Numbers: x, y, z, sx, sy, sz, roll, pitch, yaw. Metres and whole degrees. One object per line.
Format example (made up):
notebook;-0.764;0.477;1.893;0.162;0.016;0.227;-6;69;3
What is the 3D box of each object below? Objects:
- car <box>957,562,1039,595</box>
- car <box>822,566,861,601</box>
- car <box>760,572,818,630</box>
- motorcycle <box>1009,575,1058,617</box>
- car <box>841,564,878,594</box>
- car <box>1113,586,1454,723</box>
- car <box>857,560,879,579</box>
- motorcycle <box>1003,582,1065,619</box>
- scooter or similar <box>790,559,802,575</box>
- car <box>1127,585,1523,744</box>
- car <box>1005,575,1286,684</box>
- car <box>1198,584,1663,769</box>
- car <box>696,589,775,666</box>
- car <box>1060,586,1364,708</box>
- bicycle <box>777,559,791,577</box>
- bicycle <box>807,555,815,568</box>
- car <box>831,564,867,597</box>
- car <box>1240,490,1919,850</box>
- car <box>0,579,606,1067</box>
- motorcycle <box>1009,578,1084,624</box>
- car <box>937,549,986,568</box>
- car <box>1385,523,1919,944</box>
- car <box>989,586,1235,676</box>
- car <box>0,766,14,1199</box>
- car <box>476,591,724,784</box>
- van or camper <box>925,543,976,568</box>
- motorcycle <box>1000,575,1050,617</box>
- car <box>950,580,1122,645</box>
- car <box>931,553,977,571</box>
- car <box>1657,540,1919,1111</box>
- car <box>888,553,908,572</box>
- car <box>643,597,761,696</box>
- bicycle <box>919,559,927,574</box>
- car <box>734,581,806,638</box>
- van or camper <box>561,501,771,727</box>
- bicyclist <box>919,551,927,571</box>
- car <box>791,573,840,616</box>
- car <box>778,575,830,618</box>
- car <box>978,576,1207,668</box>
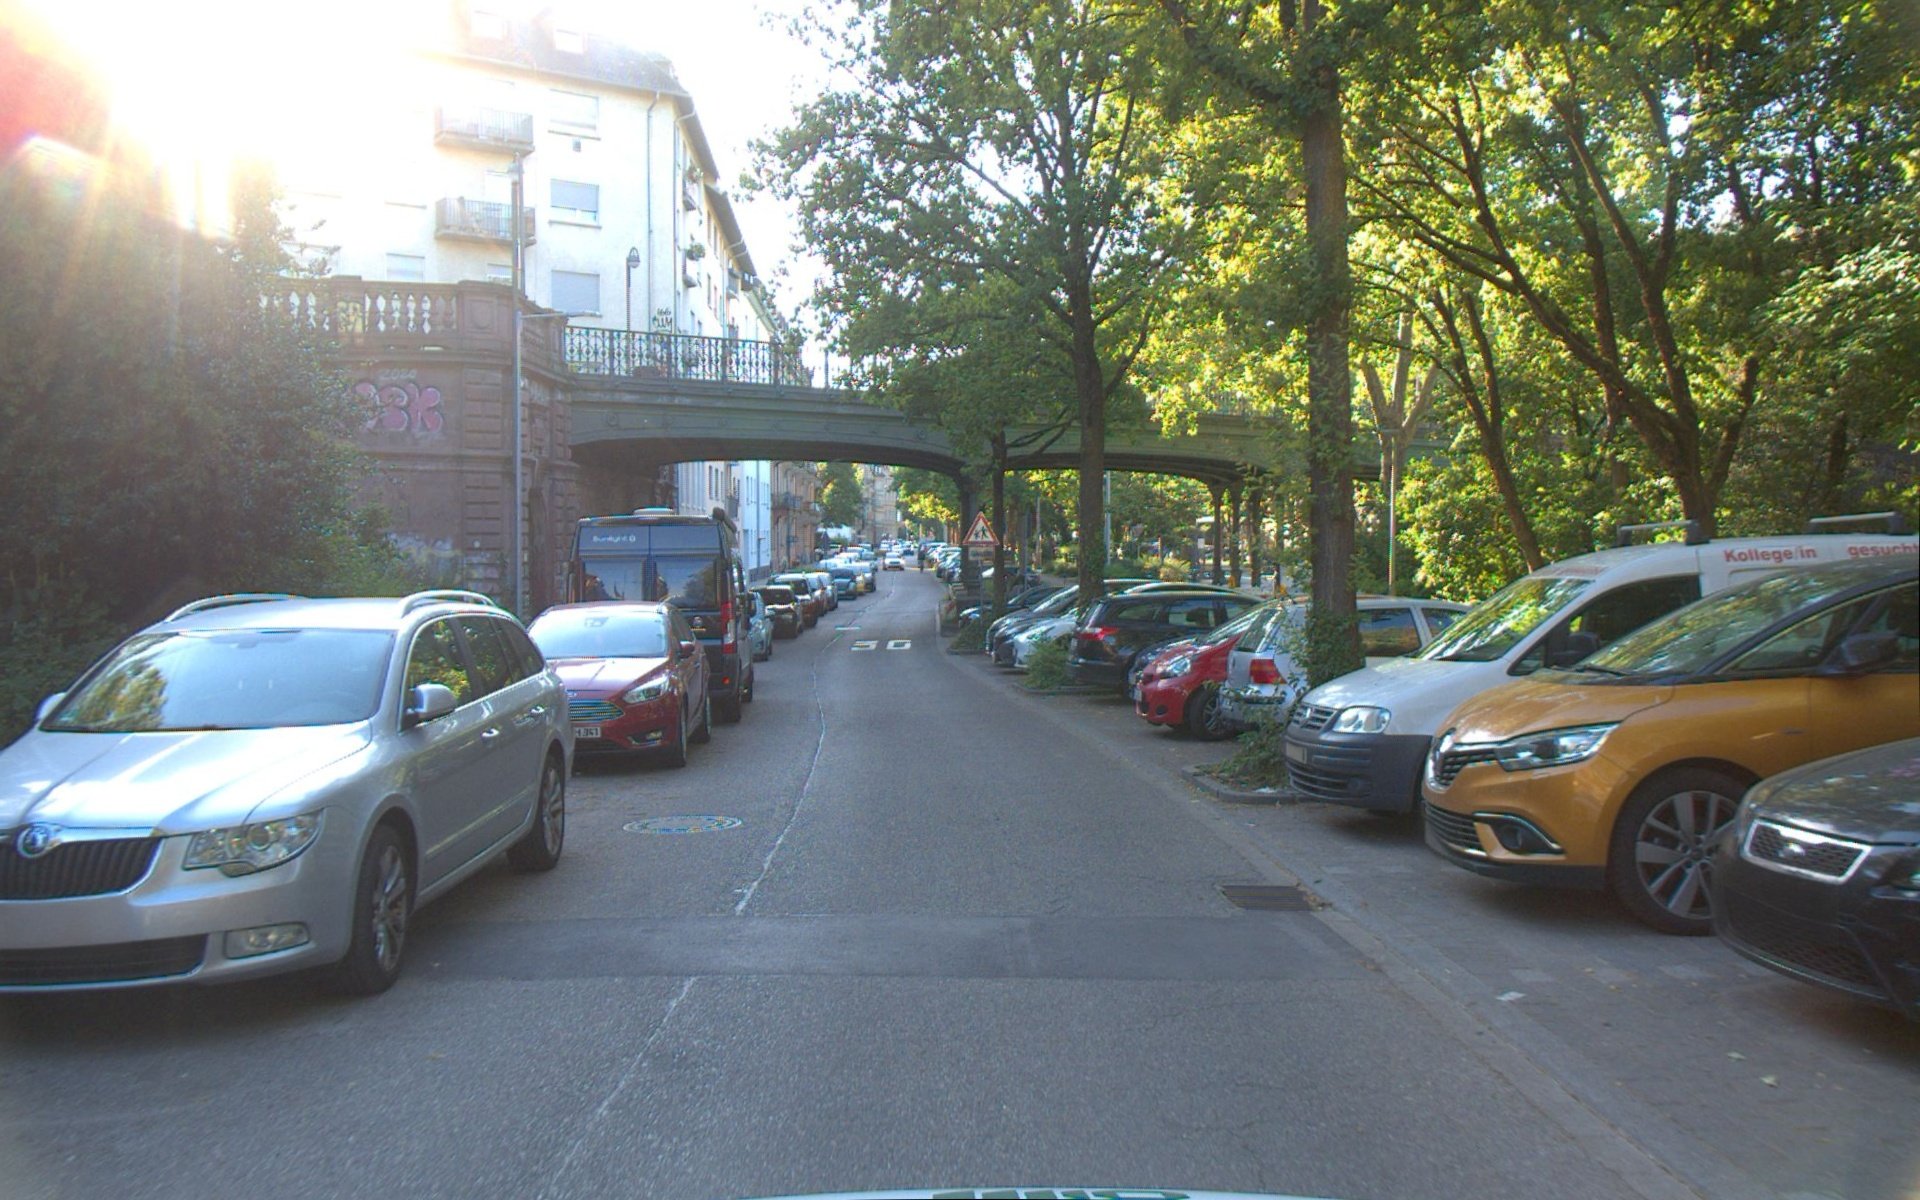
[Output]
car;1.813;-1.016;78.930;3.709;1.498;1.633;-1;0;-6
car;-5.520;-0.798;77.333;1.535;1.544;3.782;-1;2;0
car;-5.532;-0.010;53.809;1.683;1.737;4.320;-1;2;-4
motorcycle;2.564;-0.143;57.724;1.566;1.433;0.713;1;0;18
car;-5.340;-1.149;88.319;1.704;1.505;4.000;-1;2;-1
car;3.978;0.657;20.680;3.908;1.601;1.586;1;0;-4
car;-7.629;-2.560;137.368;1.473;1.459;2.754;-1;2;2
motorcycle;2.348;0.026;52.509;1.808;1.152;0.844;1;0;-26
scooter or similar;-13.363;-2.711;134.796;0.767;1.243;2.703;1;0;-2
car;3.881;0.673;17.946;3.908;1.601;1.586;1;0;-4
car;3.076;0.487;28.015;4.443;1.725;1.906;1;0;-4
car;4.323;0.677;15.602;3.905;1.601;1.666;1;0;0
car;-5.106;0.593;37.989;1.563;1.574;3.912;-2;1;-5
car;3.452;0.635;23.068;3.941;1.601;1.586;1;0;-4
bicycle;-12.433;-2.254;116.810;0.722;1.227;2.514;1;3;-1
bicycle;-14.221;-3.683;157.842;0.691;1.167;1.888;1;0;-5
car;-5.570;-1.006;83.439;1.668;1.551;3.772;-1;2;-2
car;4.332;0.378;10.803;4.579;1.958;1.871;-3;0;-4
car;-2.947;0.709;7.553;1.664;1.523;4.549;-2;0;0
motorcycle;2.447;0.027;46.770;1.907;1.259;0.896;1;0;-28
car;0.143;-3.520;141.122;4.002;1.467;1.760;-2;2;-5
car;4.235;0.585;8.018;3.904;1.788;1.799;1;0;2
car;2.746;0.550;30.565;4.288;1.559;1.875;1;0;-4
car;-2.940;0.793;1.568;1.664;1.424;4.193;-2;0;0
car;-3.283;0.712;15.837;1.666;1.533;4.225;-2;0;-4
van or camper;-0.928;-4.381;163.407;4.883;2.418;2.183;1;0;-4
motorcycle;2.246;-0.142;56.800;1.566;1.433;0.713;1;0;18
car;1.932;0.307;42.876;4.288;1.605;1.673;1;0;-4
car;-0.547;-3.506;150.902;4.132;1.478;1.649;-2;2;2
car;4.682;0.675;5.593;3.910;1.656;1.796;1;0;-6
car;-5.317;-3.248;143.047;1.635;1.455;4.000;-3;3;-1
car;-4.290;0.726;27.994;1.711;1.492;4.370;1;0;-6
bicycle;-2.944;-2.673;131.683;0.628;1.119;1.943;1;0;-3
car;-5.462;0.249;47.926;1.682;1.489;4.000;-1;2;-1
van or camper;-3.726;0.142;22.159;2.192;2.567;6.414;1;0;-5
bicyclist;-2.940;-3.125;131.640;0.615;1.600;0.801;1;0;-3
car;-5.706;-0.245;65.740;1.604;1.492;4.000;-3;2;-1
car;-5.753;-0.165;61.344;1.655;1.466;3.999;-1;2;-2
car;2.599;0.426;33.070;4.290;1.738;1.904;1;0;-7
